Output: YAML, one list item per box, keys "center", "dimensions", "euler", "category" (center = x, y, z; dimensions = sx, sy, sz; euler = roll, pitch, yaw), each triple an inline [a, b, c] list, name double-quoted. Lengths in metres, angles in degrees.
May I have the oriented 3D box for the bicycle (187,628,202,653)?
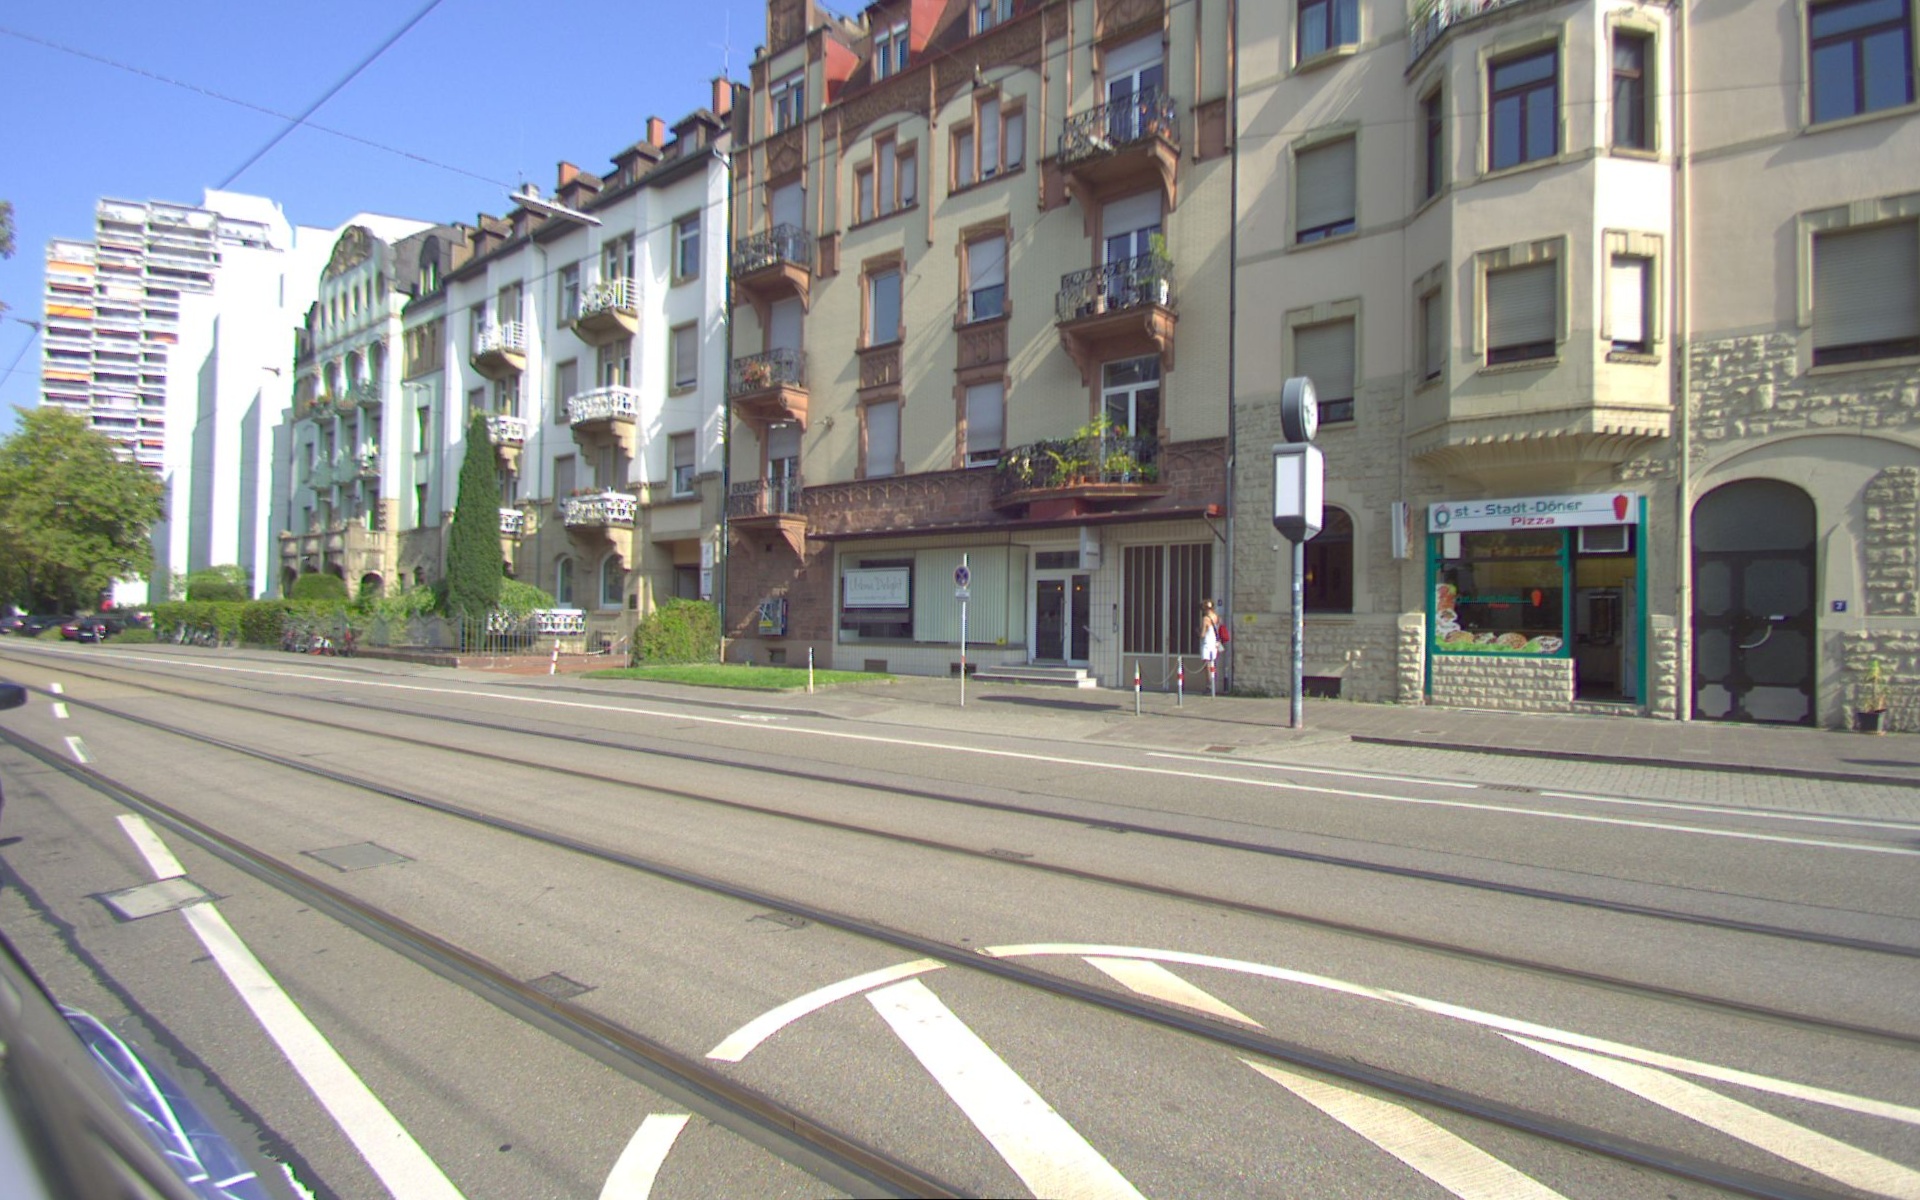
- center: [-34.654, 1.817, 45.797]
  dimensions: [0.419, 1.096, 1.679]
  euler: [3, -3, -41]
  category: "bicycle"

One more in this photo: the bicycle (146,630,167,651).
- center: [-39.435, 1.974, 49.662]
  dimensions: [1.768, 0.985, 0.420]
  euler: [-1, -3, 39]
  category: "bicycle"

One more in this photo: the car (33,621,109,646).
- center: [-56.696, 2.158, 64.651]
  dimensions: [1.744, 1.539, 4.007]
  euler: [1, -2, -9]
  category: "car"

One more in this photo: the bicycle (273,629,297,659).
- center: [-25.375, 1.641, 38.031]
  dimensions: [1.354, 1.096, 0.366]
  euler: [-1, -3, 40]
  category: "bicycle"

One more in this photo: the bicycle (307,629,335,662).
- center: [-22.064, 1.570, 34.935]
  dimensions: [1.354, 1.096, 0.366]
  euler: [-1, -3, 40]
  category: "bicycle"

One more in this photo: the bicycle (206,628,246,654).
- center: [-31.995, 1.776, 44.148]
  dimensions: [0.423, 1.096, 1.385]
  euler: [0, -2, 22]
  category: "bicycle"

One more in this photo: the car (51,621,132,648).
- center: [-51.131, 2.047, 59.677]
  dimensions: [1.744, 1.539, 4.007]
  euler: [1, -2, -9]
  category: "car"

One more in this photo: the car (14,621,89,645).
- center: [-59.228, 2.150, 66.065]
  dimensions: [1.744, 1.539, 4.007]
  euler: [1, -2, -9]
  category: "car"

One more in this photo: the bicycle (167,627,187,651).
- center: [-36.820, 1.838, 47.600]
  dimensions: [1.676, 1.096, 0.420]
  euler: [-1, -3, 43]
  category: "bicycle"

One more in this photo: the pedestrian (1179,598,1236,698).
- center: [4.787, 0.925, 19.588]
  dimensions: [0.829, 1.874, 0.766]
  euler: [-1, -2, 38]
  category: "pedestrian"

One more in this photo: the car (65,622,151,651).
- center: [-46.301, 1.984, 55.122]
  dimensions: [1.744, 1.539, 4.007]
  euler: [1, -2, -9]
  category: "car"

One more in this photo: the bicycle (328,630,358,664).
- center: [-20.657, 1.557, 33.853]
  dimensions: [1.486, 1.096, 0.366]
  euler: [-1, -3, 40]
  category: "bicycle"

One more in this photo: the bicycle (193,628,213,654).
- center: [-33.152, 1.799, 44.327]
  dimensions: [1.677, 1.096, 0.419]
  euler: [-1, -3, 44]
  category: "bicycle"

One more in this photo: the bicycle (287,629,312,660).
- center: [-24.058, 1.607, 36.848]
  dimensions: [1.354, 1.096, 0.366]
  euler: [-1, -3, 40]
  category: "bicycle"

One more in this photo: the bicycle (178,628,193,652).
- center: [-35.366, 1.811, 46.207]
  dimensions: [0.419, 1.096, 1.679]
  euler: [3, -3, -41]
  category: "bicycle"

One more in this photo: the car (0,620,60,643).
- center: [-66.121, 2.224, 71.608]
  dimensions: [1.744, 1.539, 4.007]
  euler: [1, -2, -9]
  category: "car"
